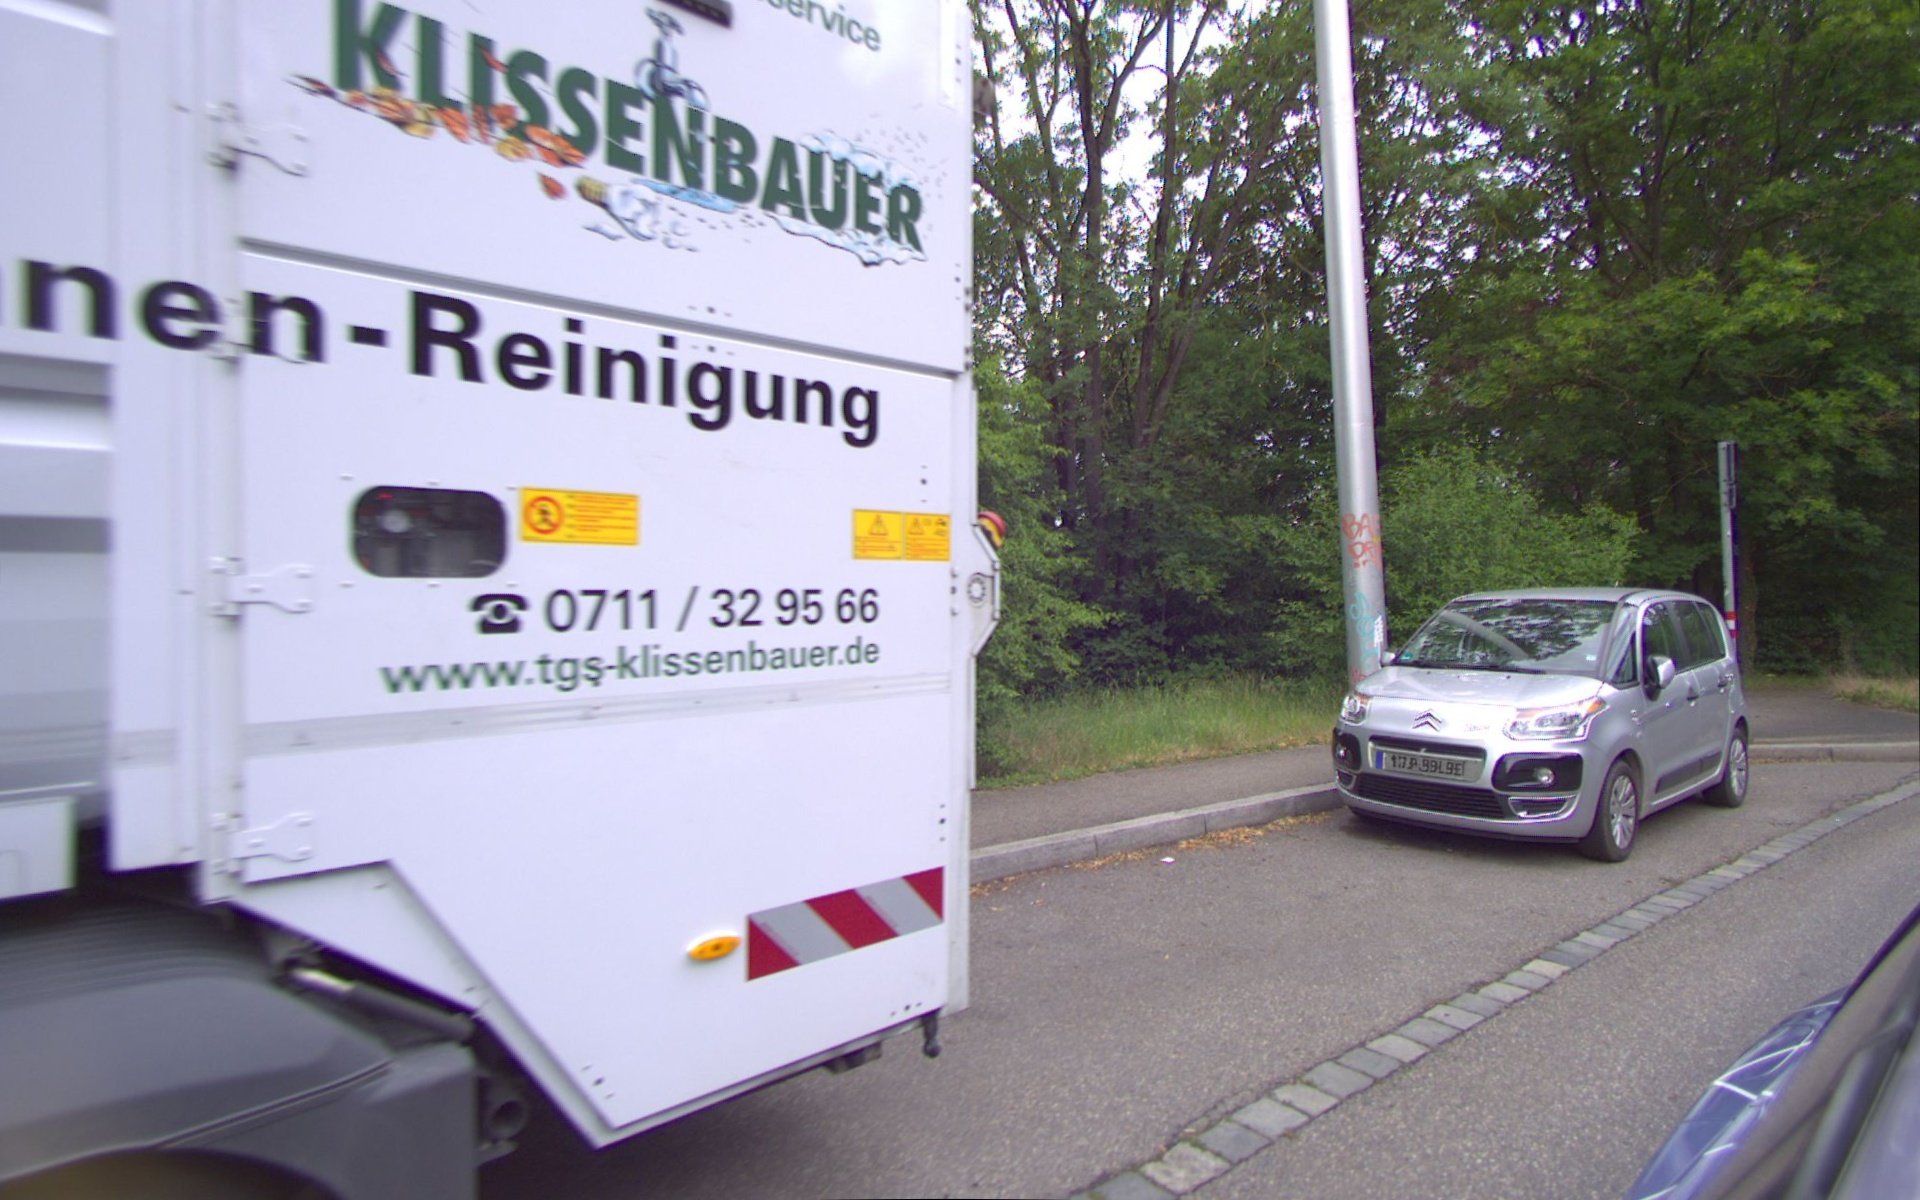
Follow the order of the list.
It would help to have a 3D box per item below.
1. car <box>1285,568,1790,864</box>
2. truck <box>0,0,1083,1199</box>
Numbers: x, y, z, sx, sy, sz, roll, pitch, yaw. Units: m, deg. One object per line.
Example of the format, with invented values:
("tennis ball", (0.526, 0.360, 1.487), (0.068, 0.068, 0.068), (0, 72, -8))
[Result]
("car", (4.254, 0.598, 7.231), (3.928, 1.544, 1.807), (0, -1, -39))
("truck", (-3.142, -0.443, 1.102), (7.106, 3.222, 2.484), (0, -1, -43))
